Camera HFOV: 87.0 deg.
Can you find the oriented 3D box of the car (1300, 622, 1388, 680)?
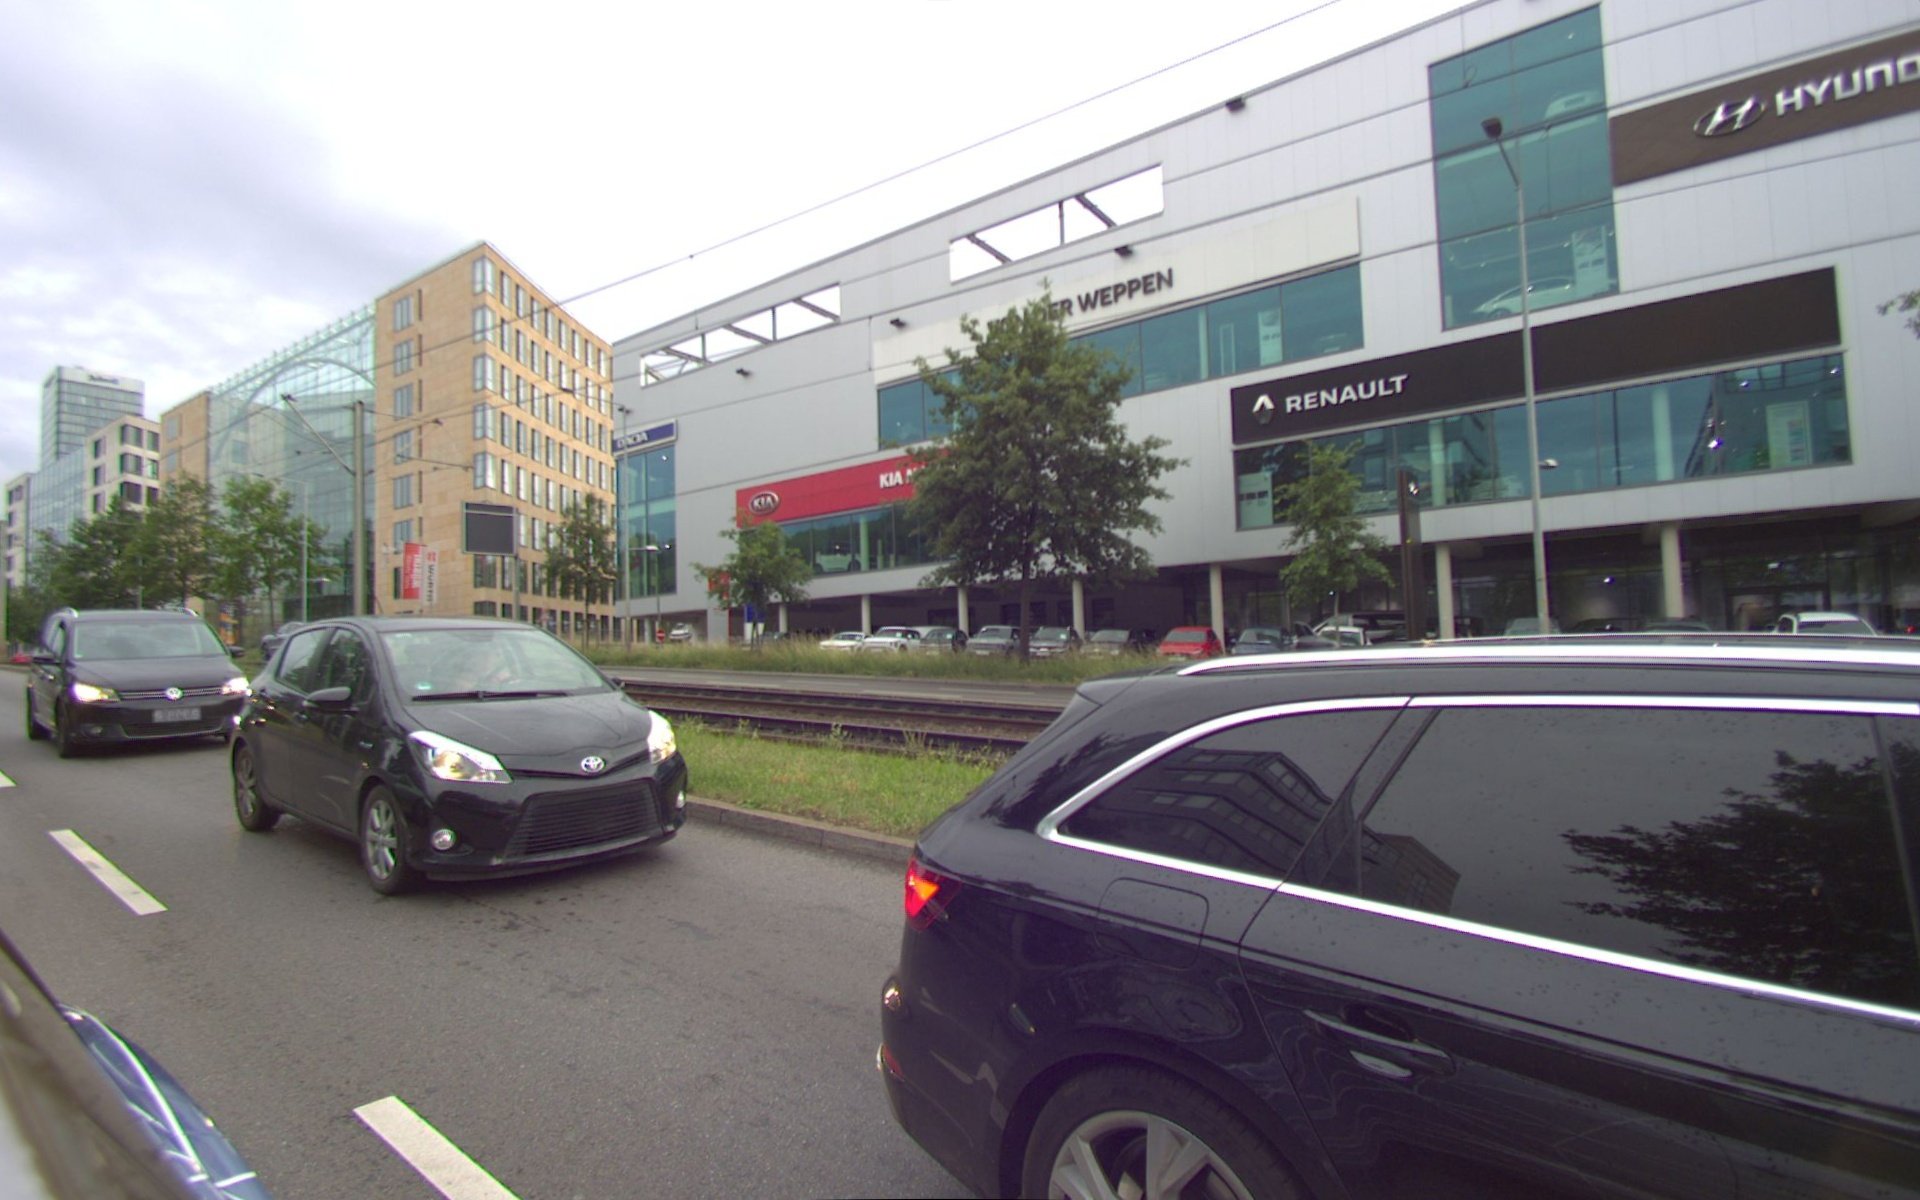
[{"bbox_3d":[11.951,1.523,31.351,1.914,1.470,4.005,-1,1,30],"label":"car"}]

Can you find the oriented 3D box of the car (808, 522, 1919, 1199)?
[{"bbox_3d":[1.931,0.650,1.476,4.511,1.478,1.762,-2,-2,41],"label":"car"}]

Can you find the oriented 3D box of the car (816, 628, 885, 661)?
[{"bbox_3d":[-4.784,1.948,44.644,1.685,1.196,3.643,-2,1,18],"label":"car"}]

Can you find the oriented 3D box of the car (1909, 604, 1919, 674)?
[{"bbox_3d":[22.834,0.955,22.193,1.992,1.627,4.331,-1,1,30],"label":"car"}]

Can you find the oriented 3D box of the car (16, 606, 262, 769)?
[{"bbox_3d":[-10.129,0.931,12.364,4.317,1.619,1.762,-2,0,43],"label":"car"}]

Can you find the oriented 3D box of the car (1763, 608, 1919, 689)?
[{"bbox_3d":[20.596,1.056,23.815,1.992,1.562,4.331,-1,1,30],"label":"car"}]

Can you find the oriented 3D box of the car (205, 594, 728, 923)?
[{"bbox_3d":[-3.391,0.784,6.645,3.823,1.544,1.683,-1,-1,40],"label":"car"}]

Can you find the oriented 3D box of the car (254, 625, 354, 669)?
[{"bbox_3d":[-27.290,1.947,42.060,4.834,1.733,1.974,-2,-4,38],"label":"car"}]

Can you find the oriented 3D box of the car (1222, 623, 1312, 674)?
[{"bbox_3d":[10.077,1.548,33.048,1.914,1.362,4.005,-1,1,30],"label":"car"}]

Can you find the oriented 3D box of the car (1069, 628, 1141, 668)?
[{"bbox_3d":[5.247,1.693,36.329,1.688,1.190,3.498,-2,1,24],"label":"car"}]

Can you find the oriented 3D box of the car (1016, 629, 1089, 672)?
[{"bbox_3d":[3.499,1.845,37.789,1.688,1.362,3.498,-2,1,24],"label":"car"}]

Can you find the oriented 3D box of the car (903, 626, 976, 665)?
[{"bbox_3d":[-0.787,1.822,41.037,1.688,1.362,3.499,-2,1,23],"label":"car"}]

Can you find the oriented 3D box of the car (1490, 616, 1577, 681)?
[{"bbox_3d":[15.858,1.279,27.976,1.925,1.470,3.981,-1,1,30],"label":"car"}]

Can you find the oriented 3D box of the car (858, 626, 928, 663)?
[{"bbox_3d":[-2.794,1.878,42.968,1.685,1.304,3.643,-2,1,18],"label":"car"}]

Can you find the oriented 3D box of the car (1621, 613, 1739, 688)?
[{"bbox_3d":[18.057,1.203,25.590,1.992,1.562,4.331,-1,1,30],"label":"car"}]

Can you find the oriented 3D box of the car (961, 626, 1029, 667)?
[{"bbox_3d":[1.431,1.800,39.698,1.686,1.362,3.503,-2,1,20],"label":"car"}]

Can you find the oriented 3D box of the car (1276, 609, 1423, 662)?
[{"bbox_3d":[13.958,1.260,36.503,4.488,1.796,1.997,-1,-1,5],"label":"car"}]

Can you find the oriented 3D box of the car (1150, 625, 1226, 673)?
[{"bbox_3d":[7.814,1.623,34.451,1.789,1.362,3.903,-2,1,24],"label":"car"}]

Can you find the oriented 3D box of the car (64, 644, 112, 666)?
[{"bbox_3d":[-61.354,3.854,71.163,4.092,1.524,1.570,-1,-4,35],"label":"car"}]
